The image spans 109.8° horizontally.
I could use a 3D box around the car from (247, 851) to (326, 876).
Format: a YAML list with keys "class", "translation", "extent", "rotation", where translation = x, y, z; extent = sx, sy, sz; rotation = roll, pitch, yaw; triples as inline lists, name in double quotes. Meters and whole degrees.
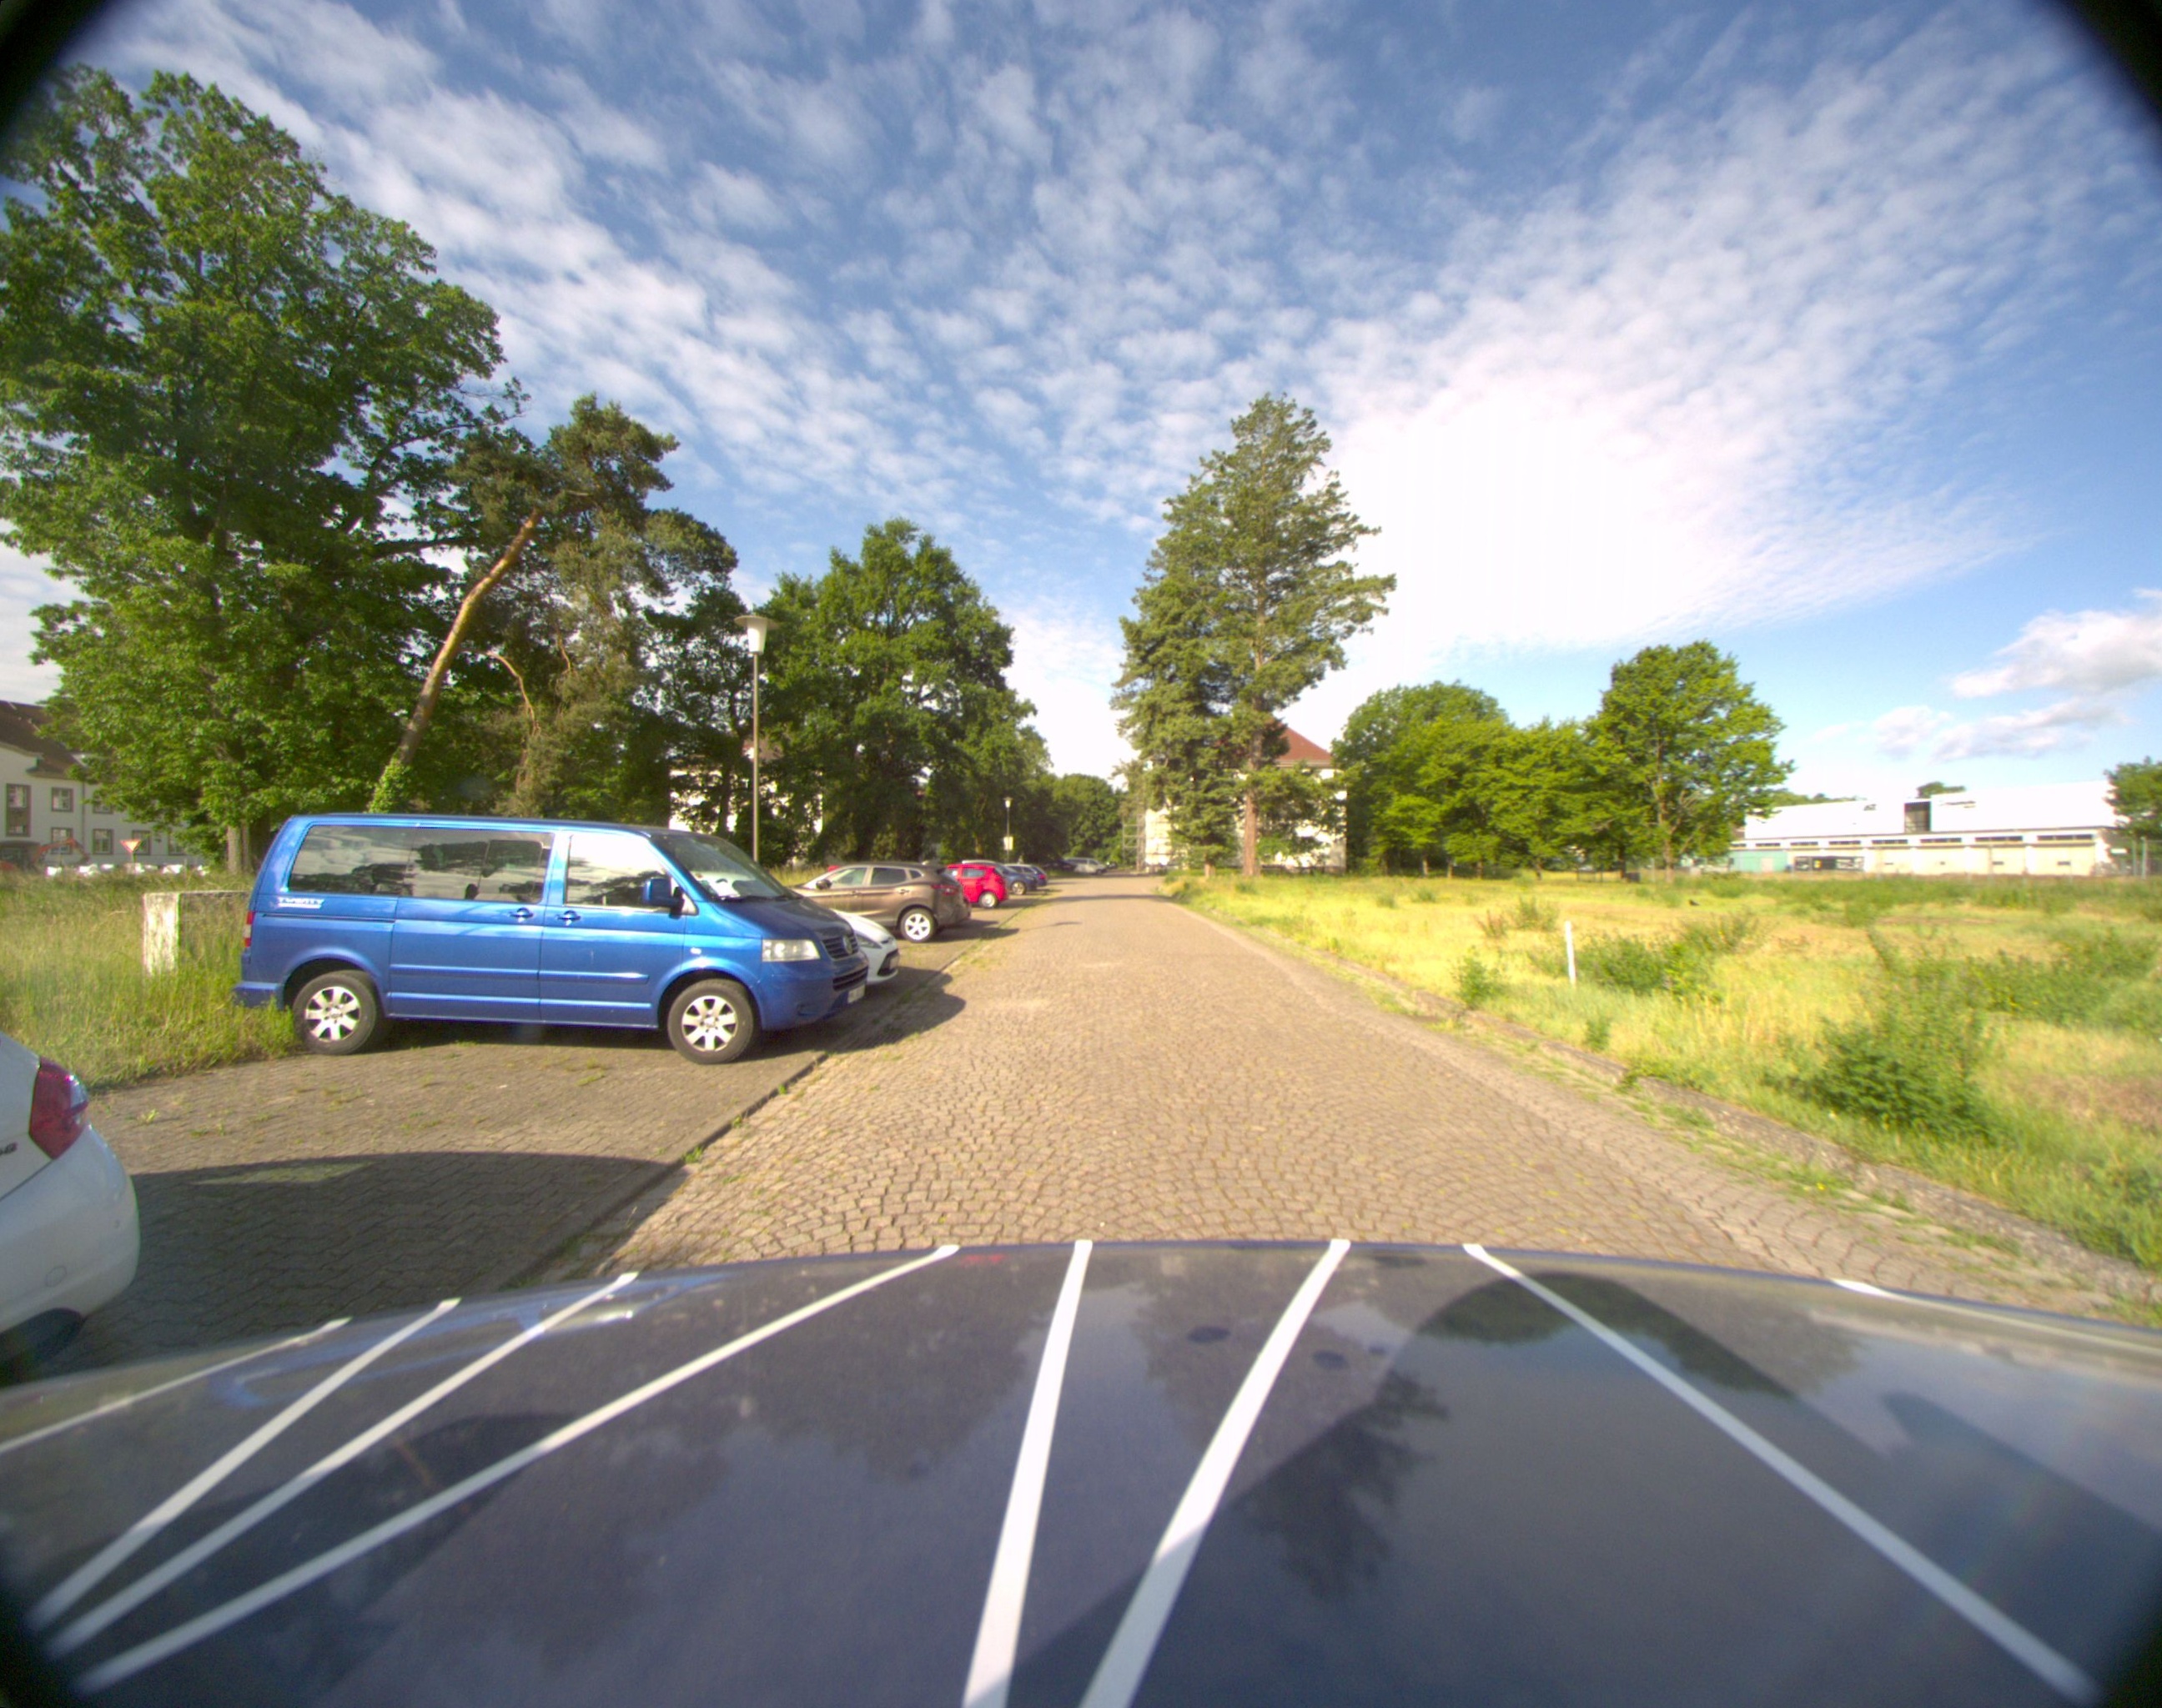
- class: "car"
  translation: [-67.100, 0.789, 64.259]
  extent: [1.906, 1.928, 4.395]
  rotation: [-2, 1, 2]

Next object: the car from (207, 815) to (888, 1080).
- class: "car"
  translation: [-4.375, 0.720, 6.851]
  extent: [4.710, 1.924, 2.000]
  rotation: [1, 0, 1]

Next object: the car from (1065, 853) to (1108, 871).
- class: "car"
  translation: [0.651, 0.976, 89.725]
  extent: [4.933, 2.002, 1.999]
  rotation: [1, 1, -5]

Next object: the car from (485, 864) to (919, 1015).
- class: "car"
  translation: [-4.452, 0.970, 9.472]
  extent: [4.408, 1.568, 1.939]
  rotation: [1, 0, 1]

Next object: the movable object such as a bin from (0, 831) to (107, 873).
- class: "movable object such as a bin"
  translation: [-88.214, -0.174, 64.411]
  extent: [6.461, 3.282, 2.859]
  rotation: [-3, 1, -42]

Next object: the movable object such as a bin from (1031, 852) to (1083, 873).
- class: "movable object such as a bin"
  translation: [-2.440, 0.845, 76.812]
  extent: [4.865, 2.002, 2.002]
  rotation: [-1, 0, 14]

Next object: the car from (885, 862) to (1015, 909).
- class: "car"
  translation: [-4.424, 1.068, 26.098]
  extent: [4.097, 1.451, 1.853]
  rotation: [2, 0, -1]

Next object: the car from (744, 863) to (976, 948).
- class: "car"
  translation: [-4.403, 1.009, 15.698]
  extent: [4.237, 1.588, 1.934]
  rotation: [0, 1, -2]

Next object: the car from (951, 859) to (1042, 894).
- class: "car"
  translation: [-3.980, 1.064, 36.320]
  extent: [4.097, 1.548, 1.853]
  rotation: [2, 0, -1]

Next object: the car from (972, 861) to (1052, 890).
- class: "car"
  translation: [-3.687, 1.167, 41.005]
  extent: [4.097, 1.414, 1.785]
  rotation: [2, 0, -1]

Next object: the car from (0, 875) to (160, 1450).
- class: "car"
  translation: [-4.760, 0.786, 1.522]
  extent: [3.716, 1.525, 1.761]
  rotation: [1, 0, 1]

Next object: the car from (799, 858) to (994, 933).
- class: "car"
  translation: [-4.346, 0.967, 18.421]
  extent: [4.237, 1.588, 1.934]
  rotation: [2, 1, -2]
